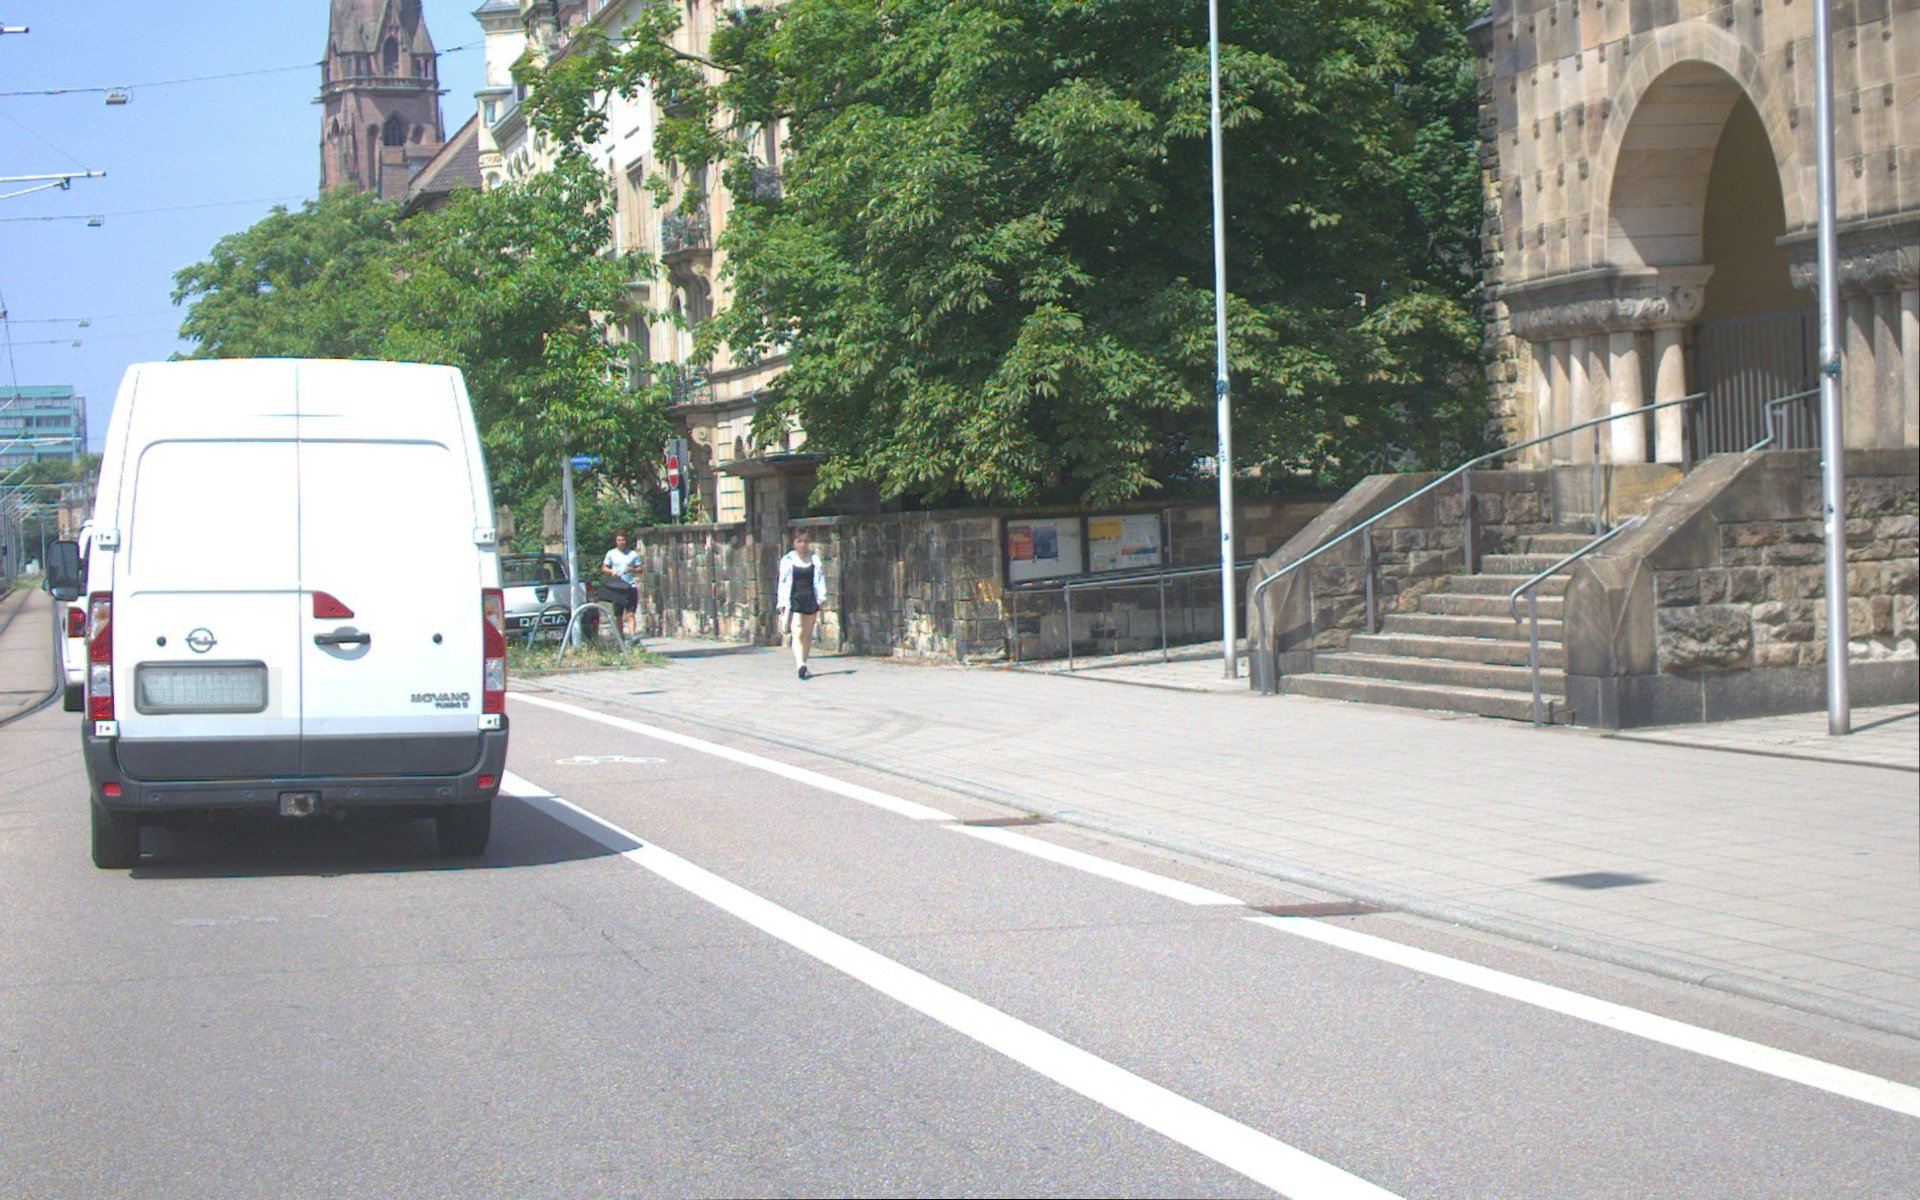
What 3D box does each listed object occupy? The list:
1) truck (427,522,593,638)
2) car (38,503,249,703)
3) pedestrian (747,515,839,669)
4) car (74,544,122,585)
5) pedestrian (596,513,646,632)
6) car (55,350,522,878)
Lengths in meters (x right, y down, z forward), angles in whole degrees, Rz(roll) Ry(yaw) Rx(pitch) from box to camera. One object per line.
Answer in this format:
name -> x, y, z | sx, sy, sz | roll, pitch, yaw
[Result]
truck -> -6.511, -0.309, 49.370 | 1.789, 1.521, 4.467 | -3, 2, -14
car -> -8.712, -0.008, 36.435 | 1.916, 1.937, 4.265 | -2, 1, -16
pedestrian -> -1.832, -0.099, 37.655 | 0.793, 1.644, 0.967 | -2, 1, -13
car -> -34.048, -1.421, 135.747 | 1.749, 1.534, 3.760 | -2, 1, -15
pedestrian -> -5.076, -0.414, 51.441 | 0.621, 1.748, 0.678 | -2, 1, -13
car -> -3.796, 0.010, 18.796 | 2.116, 2.450, 5.056 | -2, 1, -14
